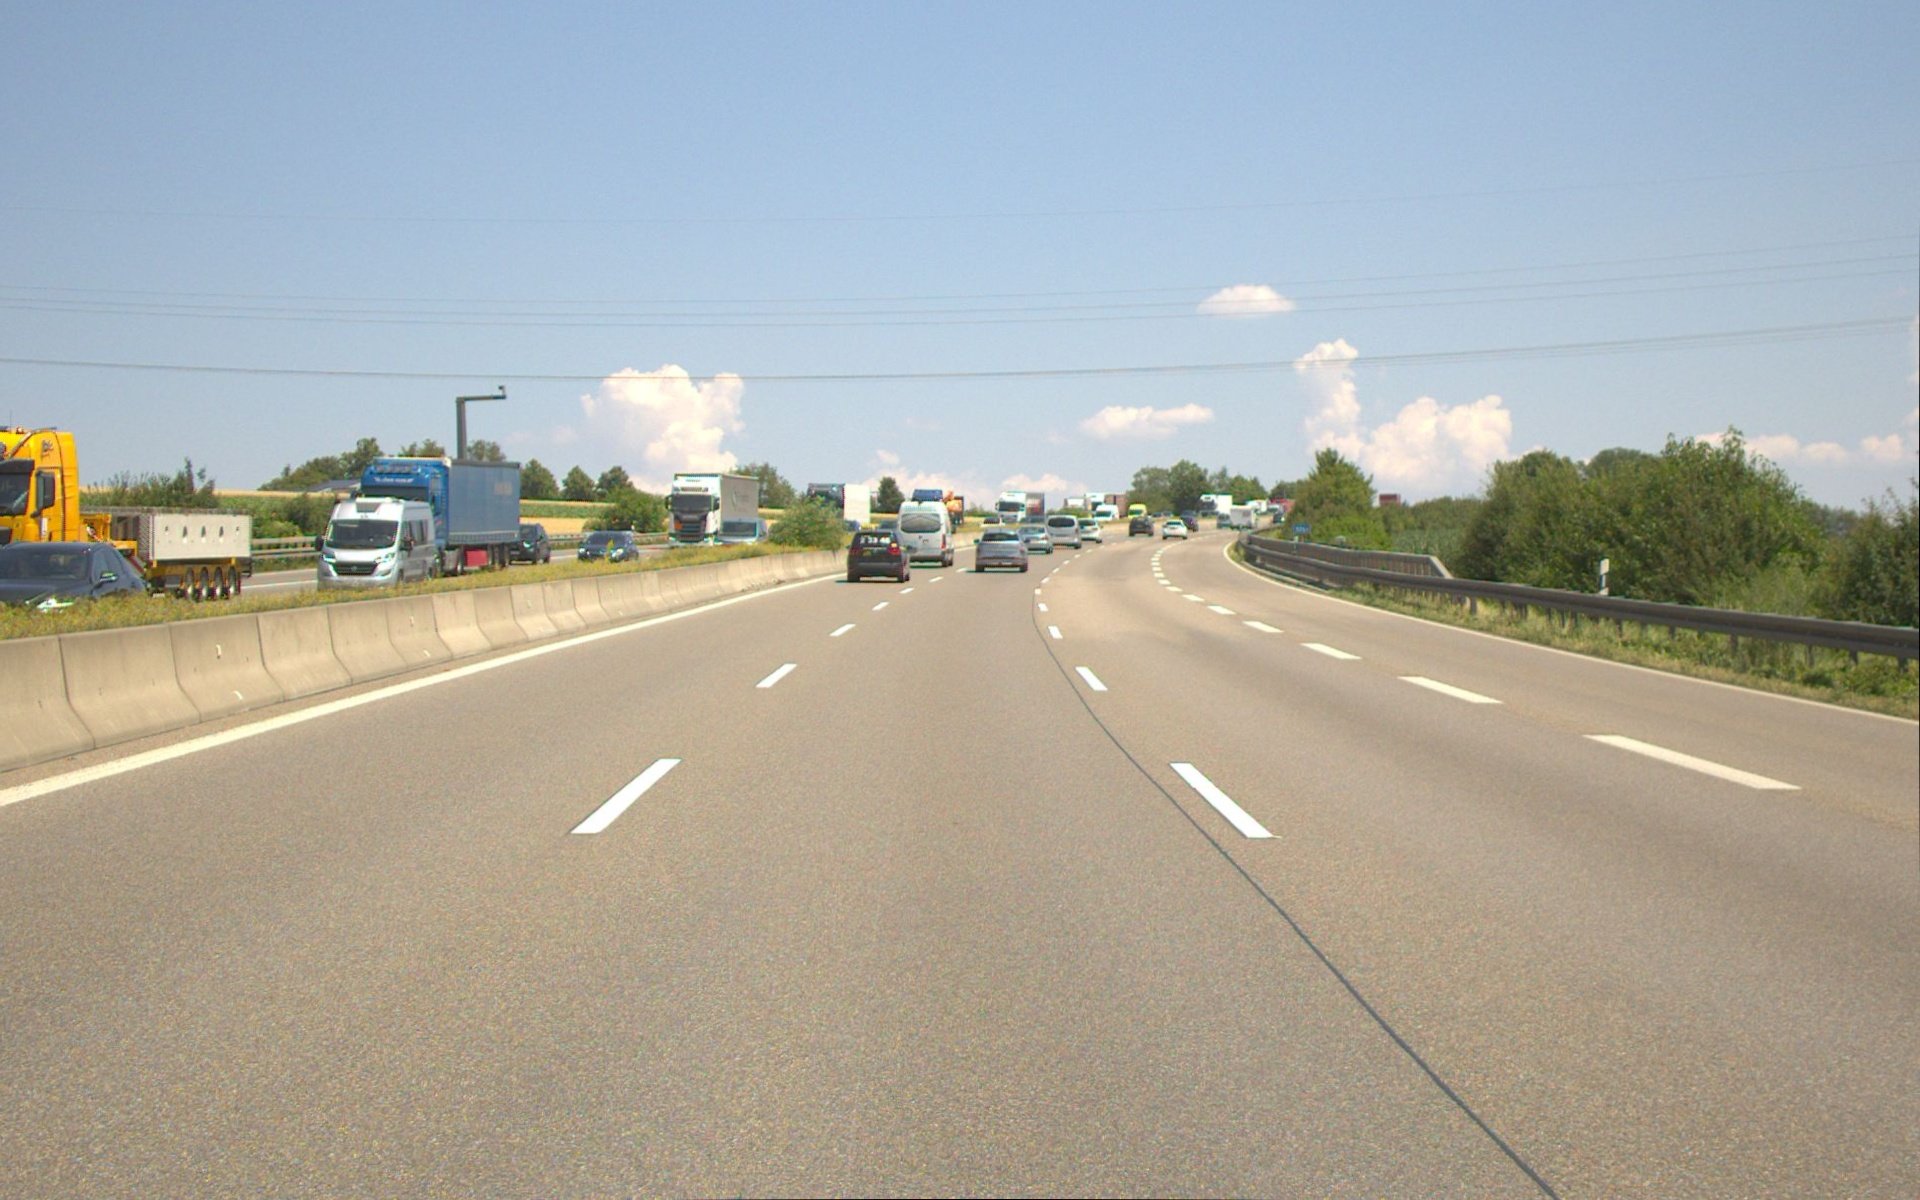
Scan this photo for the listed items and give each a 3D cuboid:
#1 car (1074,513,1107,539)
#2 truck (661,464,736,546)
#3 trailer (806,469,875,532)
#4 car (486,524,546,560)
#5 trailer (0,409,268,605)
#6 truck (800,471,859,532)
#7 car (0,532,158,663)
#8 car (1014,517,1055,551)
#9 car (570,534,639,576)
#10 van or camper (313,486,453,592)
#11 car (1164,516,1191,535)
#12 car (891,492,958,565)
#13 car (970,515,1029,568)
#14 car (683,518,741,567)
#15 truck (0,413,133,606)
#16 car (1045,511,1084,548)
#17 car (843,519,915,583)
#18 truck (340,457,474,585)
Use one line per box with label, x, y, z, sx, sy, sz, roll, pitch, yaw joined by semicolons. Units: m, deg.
car;8.409;-4.764;220.862;1.994;1.546;4.000;2;2;3
truck;-14.164;-5.131;186.714;3.133;4.313;6.146;1;1;4
trailer;-8.496;-7.102;246.535;3.242;4.372;14.026;1;1;5
car;-17.841;-2.356;138.232;1.657;1.380;4.350;1;2;2
trailer;-19.248;-2.136;79.747;2.953;4.086;14.381;1;1;2
truck;-9.085;-6.855;239.804;3.227;4.192;7.125;1;1;5
car;-12.666;-0.078;47.473;2.049;1.690;5.256;1;1;-1
car;3.704;-3.292;171.935;1.993;1.579;4.000;0;0;0
car;-13.437;-1.723;130.318;1.913;1.536;5.743;1;1;1
van or camper;-14.728;-1.564;88.195;2.311;2.578;7.143;1;1;0
car;16.111;-5.520;254.319;1.902;1.437;4.000;1;1;4
car;-1.376;-2.789;134.568;2.180;2.616;4.671;1;-1;4
car;1.447;-2.119;125.221;1.994;1.744;3.999;1;-1;2
car;-10.324;-2.411;143.230;1.913;1.963;5.447;1;1;1
truck;-19.591;-1.894;71.646;2.751;3.824;7.098;1;1;2
car;5.759;-3.885;189.966;1.993;1.897;4.000;1;-1;0
car;-2.490;-1.542;106.114;1.847;1.854;4.205;1;2;4
truck;-18.328;-2.623;114.419;3.076;4.076;6.935;1;1;2
